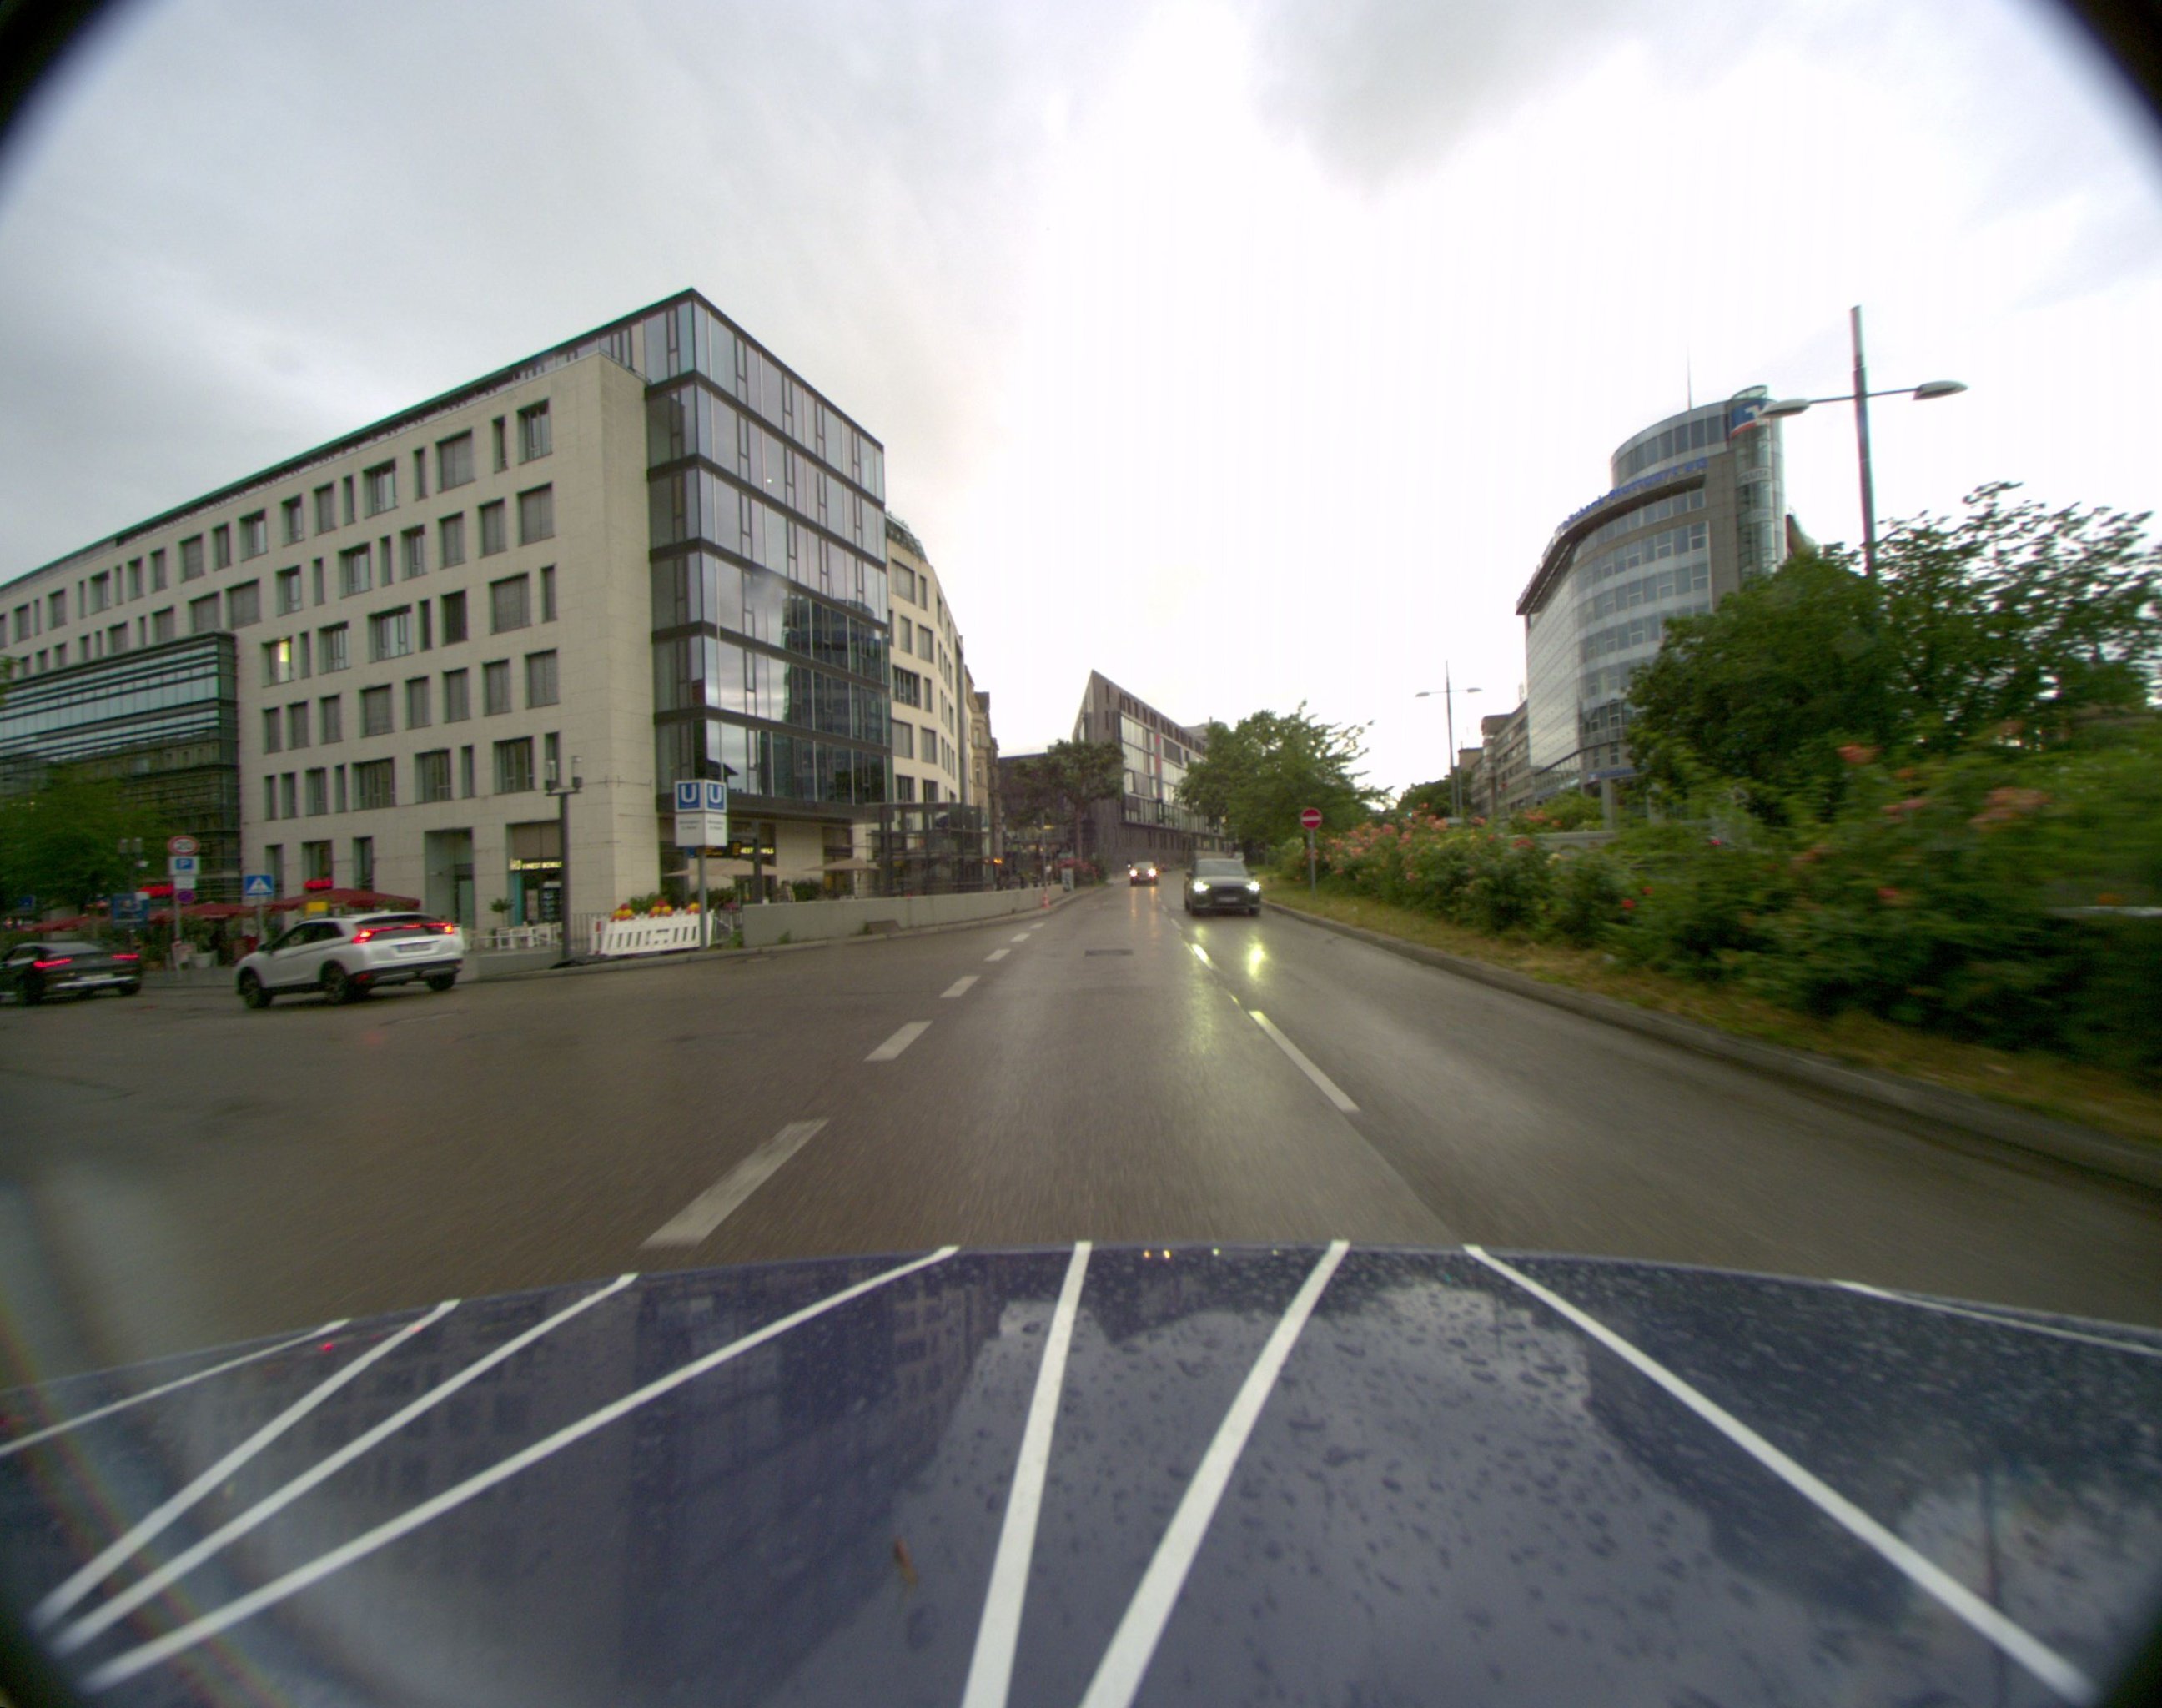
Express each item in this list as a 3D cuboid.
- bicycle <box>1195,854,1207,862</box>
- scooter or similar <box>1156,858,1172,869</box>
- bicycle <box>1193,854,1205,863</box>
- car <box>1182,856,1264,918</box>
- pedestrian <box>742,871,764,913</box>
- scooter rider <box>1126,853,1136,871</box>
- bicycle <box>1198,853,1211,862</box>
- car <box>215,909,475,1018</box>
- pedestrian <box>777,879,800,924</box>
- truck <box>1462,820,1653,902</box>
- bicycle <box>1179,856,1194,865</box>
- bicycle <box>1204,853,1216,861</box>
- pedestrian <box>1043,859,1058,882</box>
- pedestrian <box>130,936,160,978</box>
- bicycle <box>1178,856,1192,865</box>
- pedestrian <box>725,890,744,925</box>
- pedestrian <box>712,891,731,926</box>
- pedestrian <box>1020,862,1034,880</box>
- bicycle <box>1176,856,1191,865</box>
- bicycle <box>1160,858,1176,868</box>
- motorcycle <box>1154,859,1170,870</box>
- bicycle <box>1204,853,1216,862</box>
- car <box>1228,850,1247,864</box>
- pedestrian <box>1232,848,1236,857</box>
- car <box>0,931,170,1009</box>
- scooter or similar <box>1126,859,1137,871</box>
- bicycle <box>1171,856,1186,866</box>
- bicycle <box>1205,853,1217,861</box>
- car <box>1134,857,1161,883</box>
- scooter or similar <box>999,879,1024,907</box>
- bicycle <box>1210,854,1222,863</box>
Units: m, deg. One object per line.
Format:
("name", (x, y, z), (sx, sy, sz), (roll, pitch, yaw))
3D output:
("bicycle", (16.926, 0.565, 107.132), (1.536, 1.134, 0.690), (-3, 1, 17))
("scooter or similar", (10.062, 1.180, 91.883), (1.794, 1.236, 0.596), (-4, 1, 18))
("bicycle", (16.527, 0.595, 106.505), (1.536, 1.134, 0.663), (-3, 1, 17))
("car", (3.992, 0.880, 21.981), (1.865, 1.509, 4.347), (-3, 0, 5))
("pedestrian", (-15.097, 1.753, 34.934), (0.640, 1.883, 0.587), (-2, 1, 30))
("scooter rider", (5.687, 0.877, 85.989), (0.778, 2.009, 0.925), (-2, 1, 27))
("bicycle", (17.655, 0.505, 108.557), (1.708, 1.134, 0.690), (-3, 1, 17))
("car", (-14.286, 2.113, 14.786), (4.102, 1.611, 1.865), (-6, -1, 18))
("pedestrian", (-12.702, 2.072, 32.991), (0.585, 1.883, 0.643), (-2, 1, 16))
("truck", (17.394, 0.206, 28.631), (3.372, 2.495, 8.483), (-2, 0, 13))
("bicycle", (14.050, 0.827, 101.269), (1.796, 1.062, 0.557), (-4, 1, 19))
("bicycle", (19.079, 0.504, 112.314), (1.732, 1.133, 0.690), (-2, 1, 17))
("pedestrian", (-2.555, 1.401, 64.339), (0.873, 1.827, 1.250), (-5, 1, 9))
("pedestrian", (-39.676, 4.360, 32.214), (0.557, 1.692, 0.573), (-2, 1, 20))
("bicycle", (13.764, 0.859, 100.601), (1.796, 1.062, 0.557), (-4, 1, 19))
("pedestrian", (-14.113, 2.188, 30.935), (0.435, 1.395, 0.479), (-2, 1, 21))
("pedestrian", (-14.670, 2.210, 30.987), (0.435, 1.395, 0.479), (-2, 1, 21))
("pedestrian", (-4.110, 1.319, 58.358), (0.775, 1.318, 0.636), (-5, 0, 18))
("bicycle", (13.536, 0.886, 99.944), (1.796, 1.062, 0.557), (-4, 1, 19))
("bicycle", (10.709, 1.104, 93.552), (1.797, 1.101, 0.671), (-4, 1, 18))
("motorcycle", (9.706, 1.267, 90.799), (1.794, 1.133, 0.596), (-4, 1, 18))
("bicycle", (18.894, 0.514, 111.394), (1.732, 1.133, 0.690), (-2, 1, 17))
("car", (19.541, 0.344, 94.724), (1.796, 1.501, 4.506), (-3, 0, 19))
("pedestrian", (32.679, -0.367, 162.149), (0.722, 1.820, 0.748), (-1, 1, 21))
("car", (-26.855, 3.048, 20.212), (4.740, 1.681, 2.008), (-4, -1, 23))
("scooter or similar", (5.714, 1.282, 86.011), (0.778, 1.298, 1.337), (-2, 0, 27))
("bicycle", (12.608, 0.937, 98.370), (1.797, 1.101, 0.671), (-4, 1, 18))
("bicycle", (19.373, 0.480, 113.041), (1.732, 1.176, 0.690), (-2, 1, 17))
("car", (4.135, 0.974, 47.462), (1.594, 1.501, 3.710), (-3, 0, 5))
("scooter or similar", (-3.257, 1.835, 35.783), (1.093, 1.264, 0.481), (-3, 0, -5))
("bicycle", (20.557, 0.690, 115.632), (1.732, 1.176, 0.690), (-2, 1, 17))
